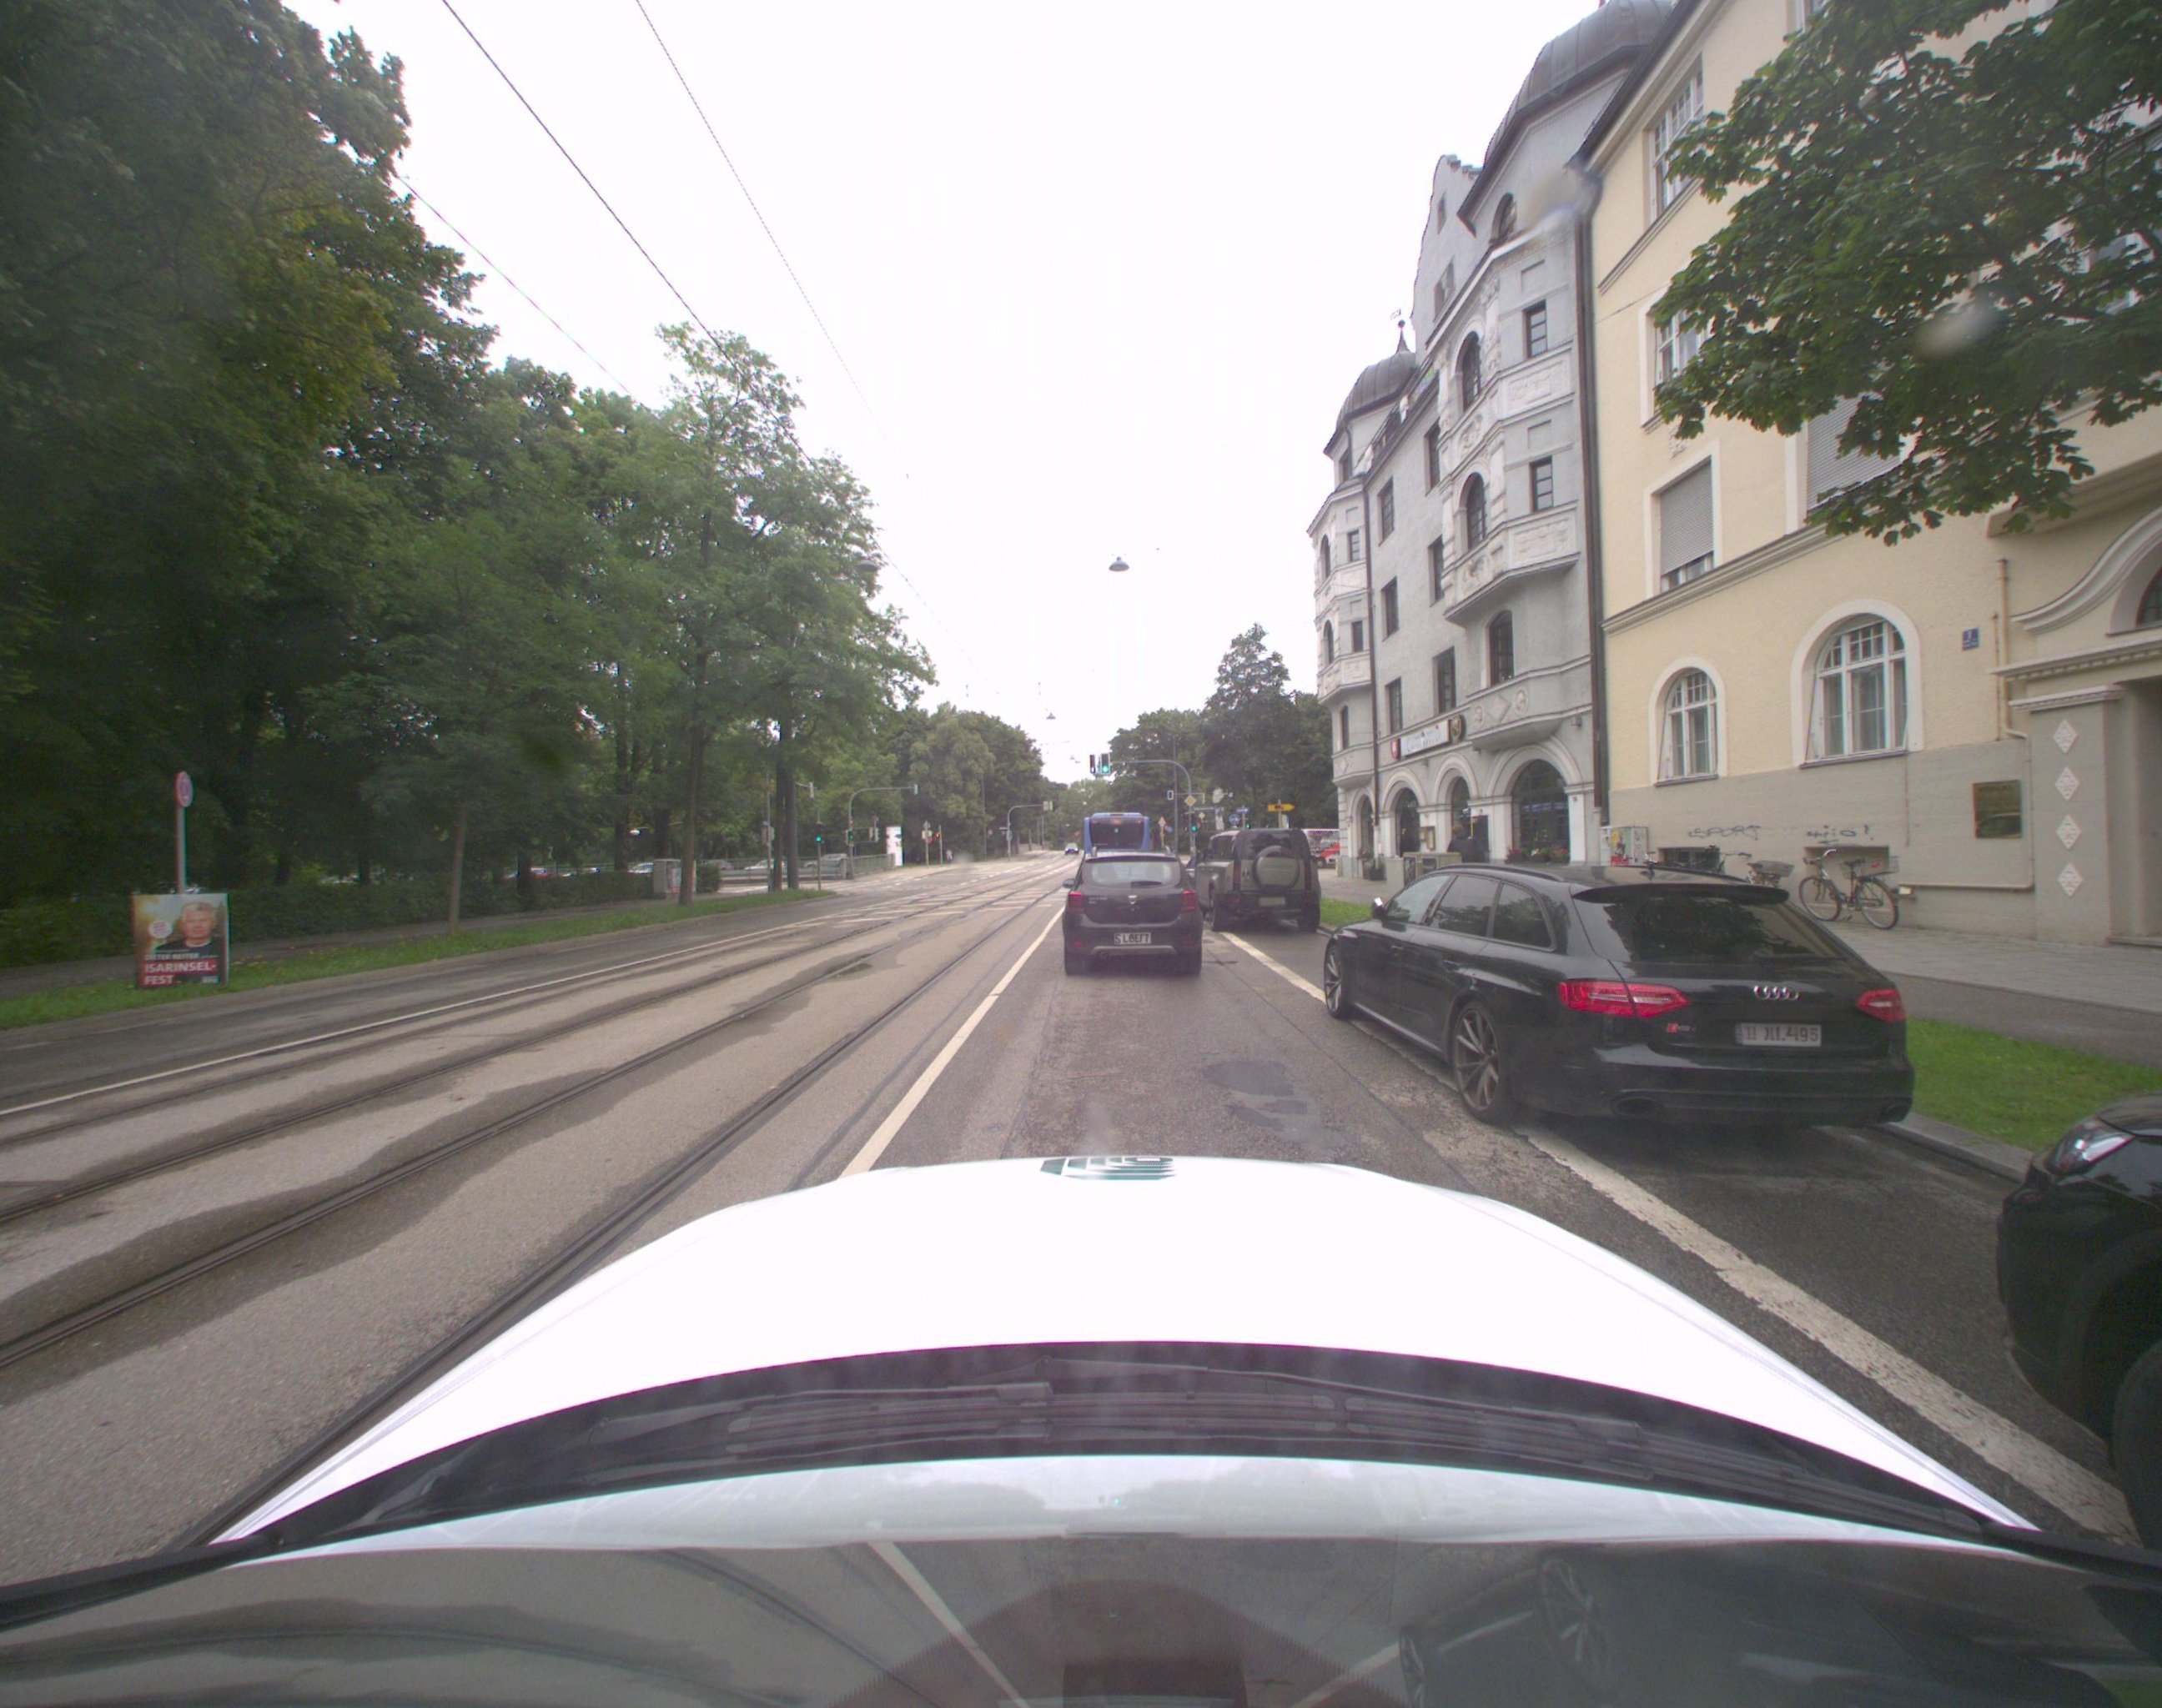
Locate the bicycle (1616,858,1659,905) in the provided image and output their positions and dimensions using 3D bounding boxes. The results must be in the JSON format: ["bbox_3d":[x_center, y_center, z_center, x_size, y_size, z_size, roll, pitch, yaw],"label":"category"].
[{"bbox_3d":[11.255,0.545,16.492,0.289,0.930,0.886,0,0,3],"label":"bicycle"}]

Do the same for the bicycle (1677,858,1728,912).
[{"bbox_3d":[11.100,0.533,14.563,0.271,0.930,0.886,0,0,3],"label":"bicycle"}]

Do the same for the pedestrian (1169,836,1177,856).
[{"bbox_3d":[9.857,-0.883,87.152,0.760,2.116,0.854,-2,0,2],"label":"pedestrian"}]

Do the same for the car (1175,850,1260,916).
[{"bbox_3d":[3.569,0.708,21.940,1.708,1.591,4.329,0,0,2],"label":"car"}]

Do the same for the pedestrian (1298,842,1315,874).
[{"bbox_3d":[12.134,0.221,43.866,0.702,1.732,0.843,0,0,2],"label":"pedestrian"}]

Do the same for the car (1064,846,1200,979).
[{"bbox_3d":[0.638,0.690,11.317,1.595,1.556,3.526,0,0,1],"label":"car"}]

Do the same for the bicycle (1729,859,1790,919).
[{"bbox_3d":[10.999,0.554,13.228,0.284,0.930,0.886,0,0,3],"label":"bicycle"}]

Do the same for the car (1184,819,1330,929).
[{"bbox_3d":[3.346,0.354,16.468,1.908,1.906,4.806,0,0,0],"label":"car"}]

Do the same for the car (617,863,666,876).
[{"bbox_3d":[-39.408,1.389,73.076,3.720,1.185,1.249,0,0,-4],"label":"car"}]

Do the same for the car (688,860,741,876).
[{"bbox_3d":[-32.972,1.249,73.336,3.915,1.404,1.719,0,0,-3],"label":"car"}]

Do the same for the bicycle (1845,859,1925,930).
[{"bbox_3d":[10.987,0.537,11.151,0.220,0.930,0.886,0,0,1],"label":"bicycle"}]

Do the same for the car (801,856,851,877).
[{"bbox_3d":[-23.137,1.154,73.955,4.015,1.887,1.488,0,0,-5],"label":"car"}]

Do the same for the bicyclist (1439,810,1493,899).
[{"bbox_3d":[7.655,0.005,16.220,0.722,1.729,0.726,0,0,1],"label":"bicyclist"}]

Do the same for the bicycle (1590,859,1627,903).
[{"bbox_3d":[11.284,0.568,17.428,0.258,0.930,0.886,0,0,3],"label":"bicycle"}]

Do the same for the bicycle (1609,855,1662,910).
[{"bbox_3d":[10.813,0.542,15.911,0.241,1.039,1.224,0,0,2],"label":"bicycle"}]

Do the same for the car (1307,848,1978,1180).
[{"bbox_3d":[3.055,0.692,5.812,1.709,1.426,4.603,0,0,1],"label":"car"}]

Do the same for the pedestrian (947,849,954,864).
[{"bbox_3d":[-12.953,0.264,80.648,0.529,1.501,0.589,0,0,6],"label":"pedestrian"}]

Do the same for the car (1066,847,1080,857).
[{"bbox_3d":[-1.093,-0.261,107.822,1.782,1.370,3.400,0,0,0],"label":"car"}]

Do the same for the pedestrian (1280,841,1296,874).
[{"bbox_3d":[11.337,0.185,44.621,0.702,1.816,0.870,0,0,2],"label":"pedestrian"}]

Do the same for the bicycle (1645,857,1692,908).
[{"bbox_3d":[11.191,0.529,15.532,0.304,0.930,0.886,0,0,4],"label":"bicycle"}]

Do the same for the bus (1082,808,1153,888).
[{"bbox_3d":[1.372,-0.205,33.959,2.670,2.997,6.960,0,0,0],"label":"bus"}]

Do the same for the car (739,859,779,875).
[{"bbox_3d":[-29.014,1.170,73.481,3.103,1.452,1.249,0,0,-4],"label":"car"}]

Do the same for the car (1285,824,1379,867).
[{"bbox_3d":[15.698,-0.508,51.119,5.281,2.612,2.229,0,0,-2],"label":"car"}]

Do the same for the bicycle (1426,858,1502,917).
[{"bbox_3d":[7.650,0.630,16.369,0.577,1.078,1.912,-4,0,1],"label":"bicycle"}]
